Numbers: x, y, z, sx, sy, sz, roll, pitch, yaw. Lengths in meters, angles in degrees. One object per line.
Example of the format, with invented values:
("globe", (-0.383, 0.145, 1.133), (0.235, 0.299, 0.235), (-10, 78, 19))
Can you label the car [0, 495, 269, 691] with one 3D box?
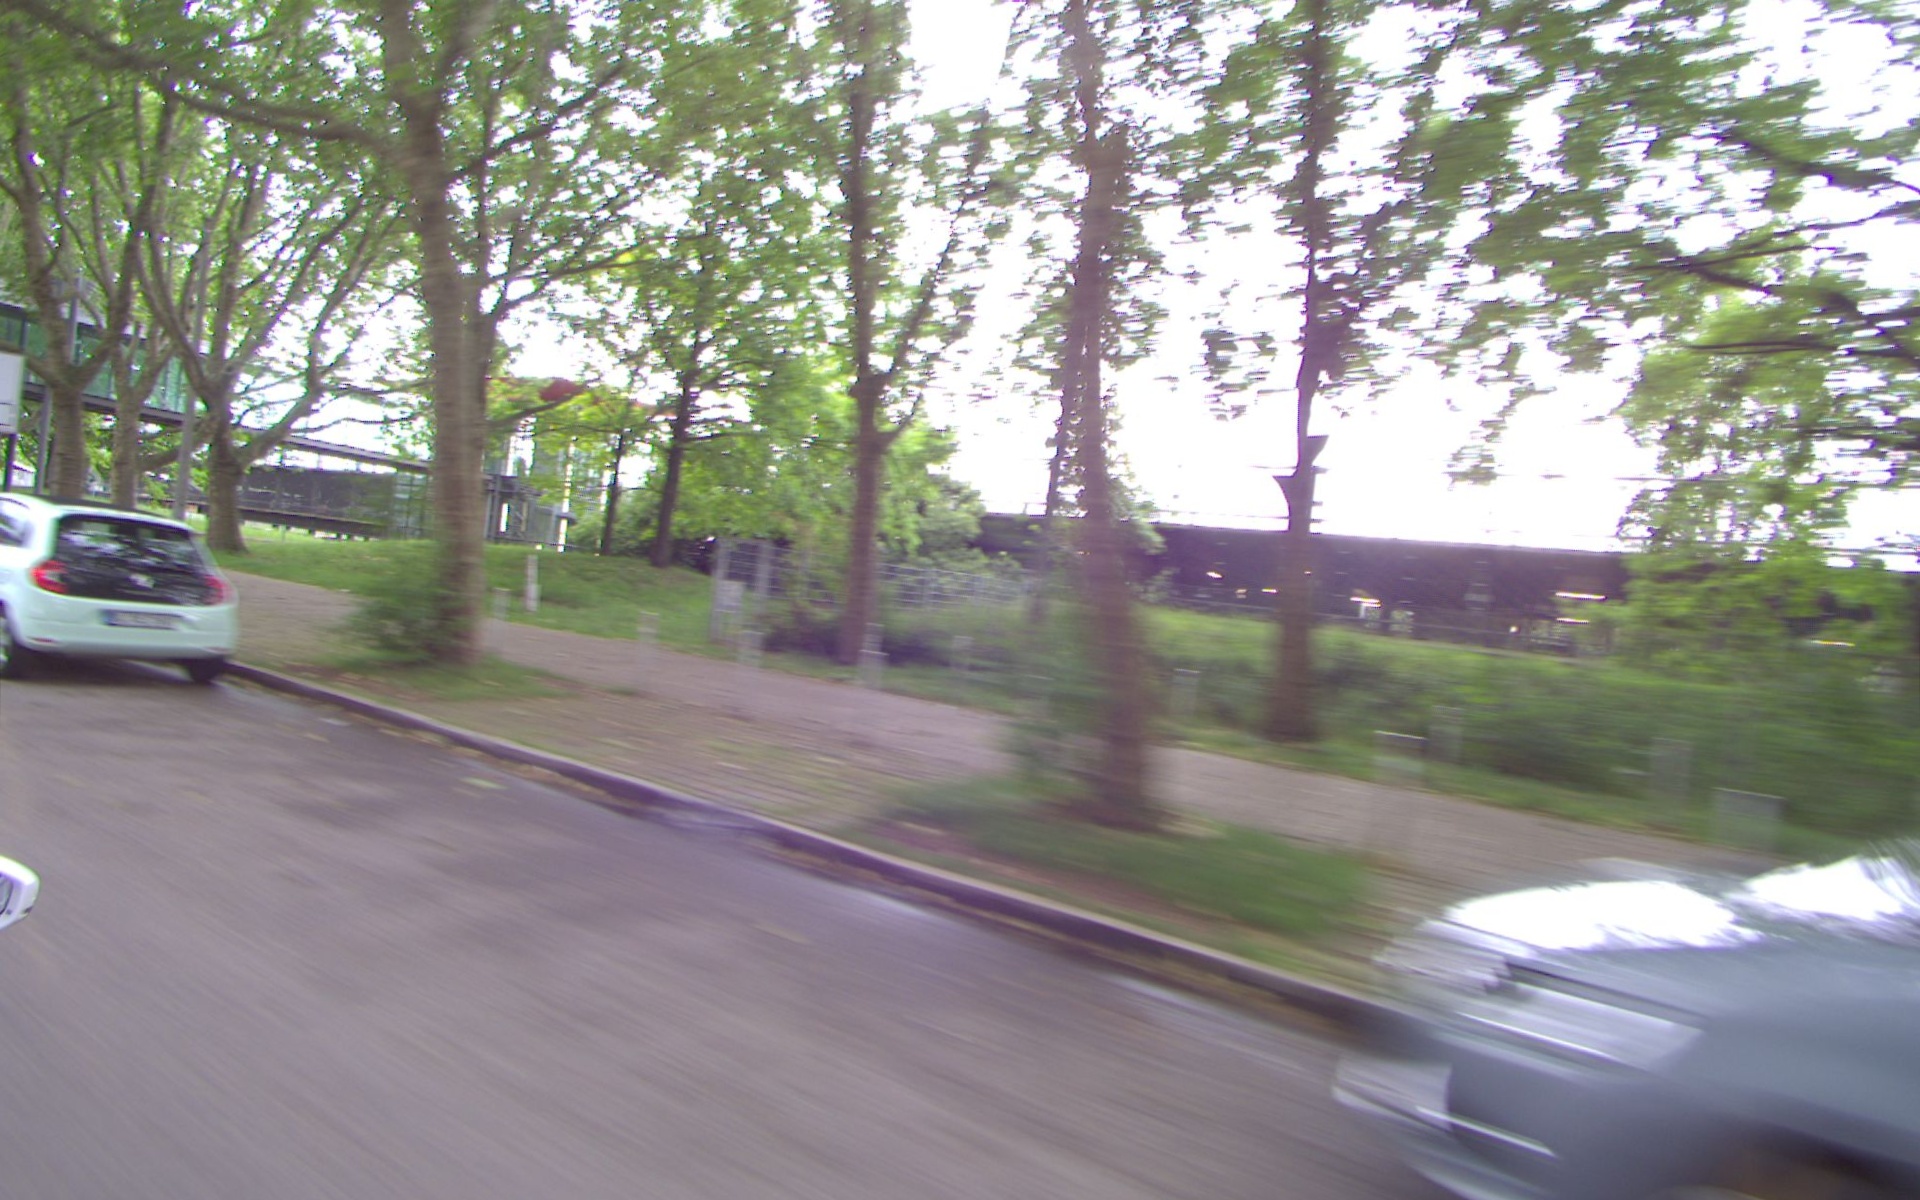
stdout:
("car", (-8.782, -0.175, 9.815), (4.028, 1.545, 1.810), (7, 0, 32))

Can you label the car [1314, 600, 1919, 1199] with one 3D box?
("car", (3.452, 1.149, 2.203), (4.652, 1.701, 1.984), (7, 0, 31))
